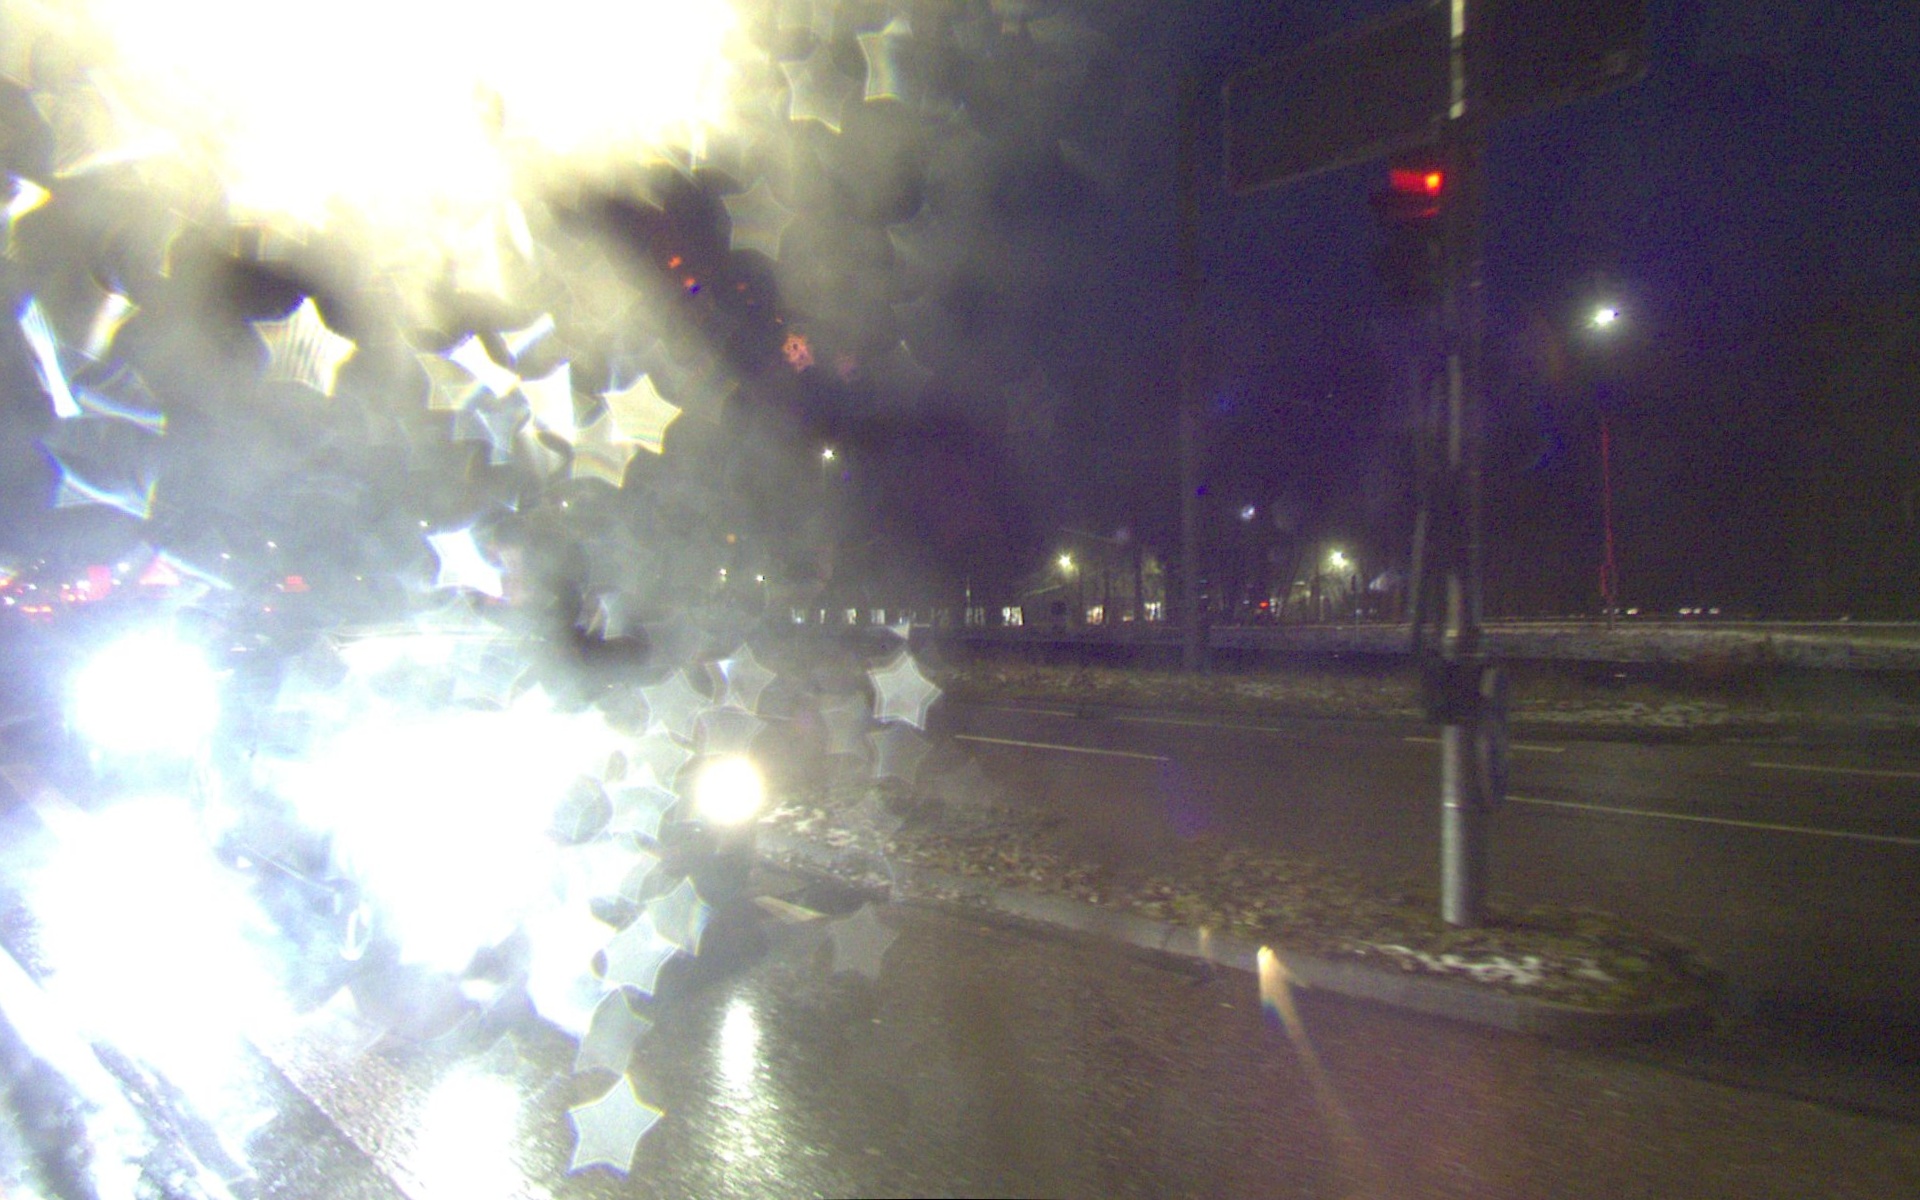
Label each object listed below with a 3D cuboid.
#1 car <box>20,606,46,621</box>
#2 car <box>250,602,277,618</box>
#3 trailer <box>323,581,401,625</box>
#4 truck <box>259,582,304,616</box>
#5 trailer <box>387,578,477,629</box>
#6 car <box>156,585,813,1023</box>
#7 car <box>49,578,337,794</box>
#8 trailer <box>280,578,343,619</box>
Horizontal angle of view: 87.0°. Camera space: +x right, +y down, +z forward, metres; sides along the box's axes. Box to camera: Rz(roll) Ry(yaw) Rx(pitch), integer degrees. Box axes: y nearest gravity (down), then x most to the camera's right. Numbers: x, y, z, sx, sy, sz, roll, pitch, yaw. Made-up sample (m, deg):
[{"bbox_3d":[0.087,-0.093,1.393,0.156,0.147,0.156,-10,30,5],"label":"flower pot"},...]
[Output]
[{"bbox_3d":[-103.711,1.533,113.216,4.651,1.654,1.742,-1,1,42],"label":"car"},{"bbox_3d":[-81.300,1.167,118.185,4.220,1.706,1.766,-1,1,44],"label":"car"},{"bbox_3d":[-70.421,0.199,118.947,3.926,4.643,15.525,-6,4,-45],"label":"trailer"},{"bbox_3d":[-100.560,-0.154,149.992,3.401,4.643,10.219,-6,4,-45],"label":"truck"},{"bbox_3d":[-54.342,0.237,103.875,3.927,4.643,14.257,-6,4,-45],"label":"trailer"},{"bbox_3d":[-2.933,0.751,5.685,4.435,1.522,1.765,-1,-2,42],"label":"car"},{"bbox_3d":[-8.156,0.746,10.588,4.437,1.795,1.764,-1,-1,44],"label":"car"},{"bbox_3d":[-88.421,-0.304,137.891,3.926,5.049,14.845,-6,4,-45],"label":"trailer"}]
